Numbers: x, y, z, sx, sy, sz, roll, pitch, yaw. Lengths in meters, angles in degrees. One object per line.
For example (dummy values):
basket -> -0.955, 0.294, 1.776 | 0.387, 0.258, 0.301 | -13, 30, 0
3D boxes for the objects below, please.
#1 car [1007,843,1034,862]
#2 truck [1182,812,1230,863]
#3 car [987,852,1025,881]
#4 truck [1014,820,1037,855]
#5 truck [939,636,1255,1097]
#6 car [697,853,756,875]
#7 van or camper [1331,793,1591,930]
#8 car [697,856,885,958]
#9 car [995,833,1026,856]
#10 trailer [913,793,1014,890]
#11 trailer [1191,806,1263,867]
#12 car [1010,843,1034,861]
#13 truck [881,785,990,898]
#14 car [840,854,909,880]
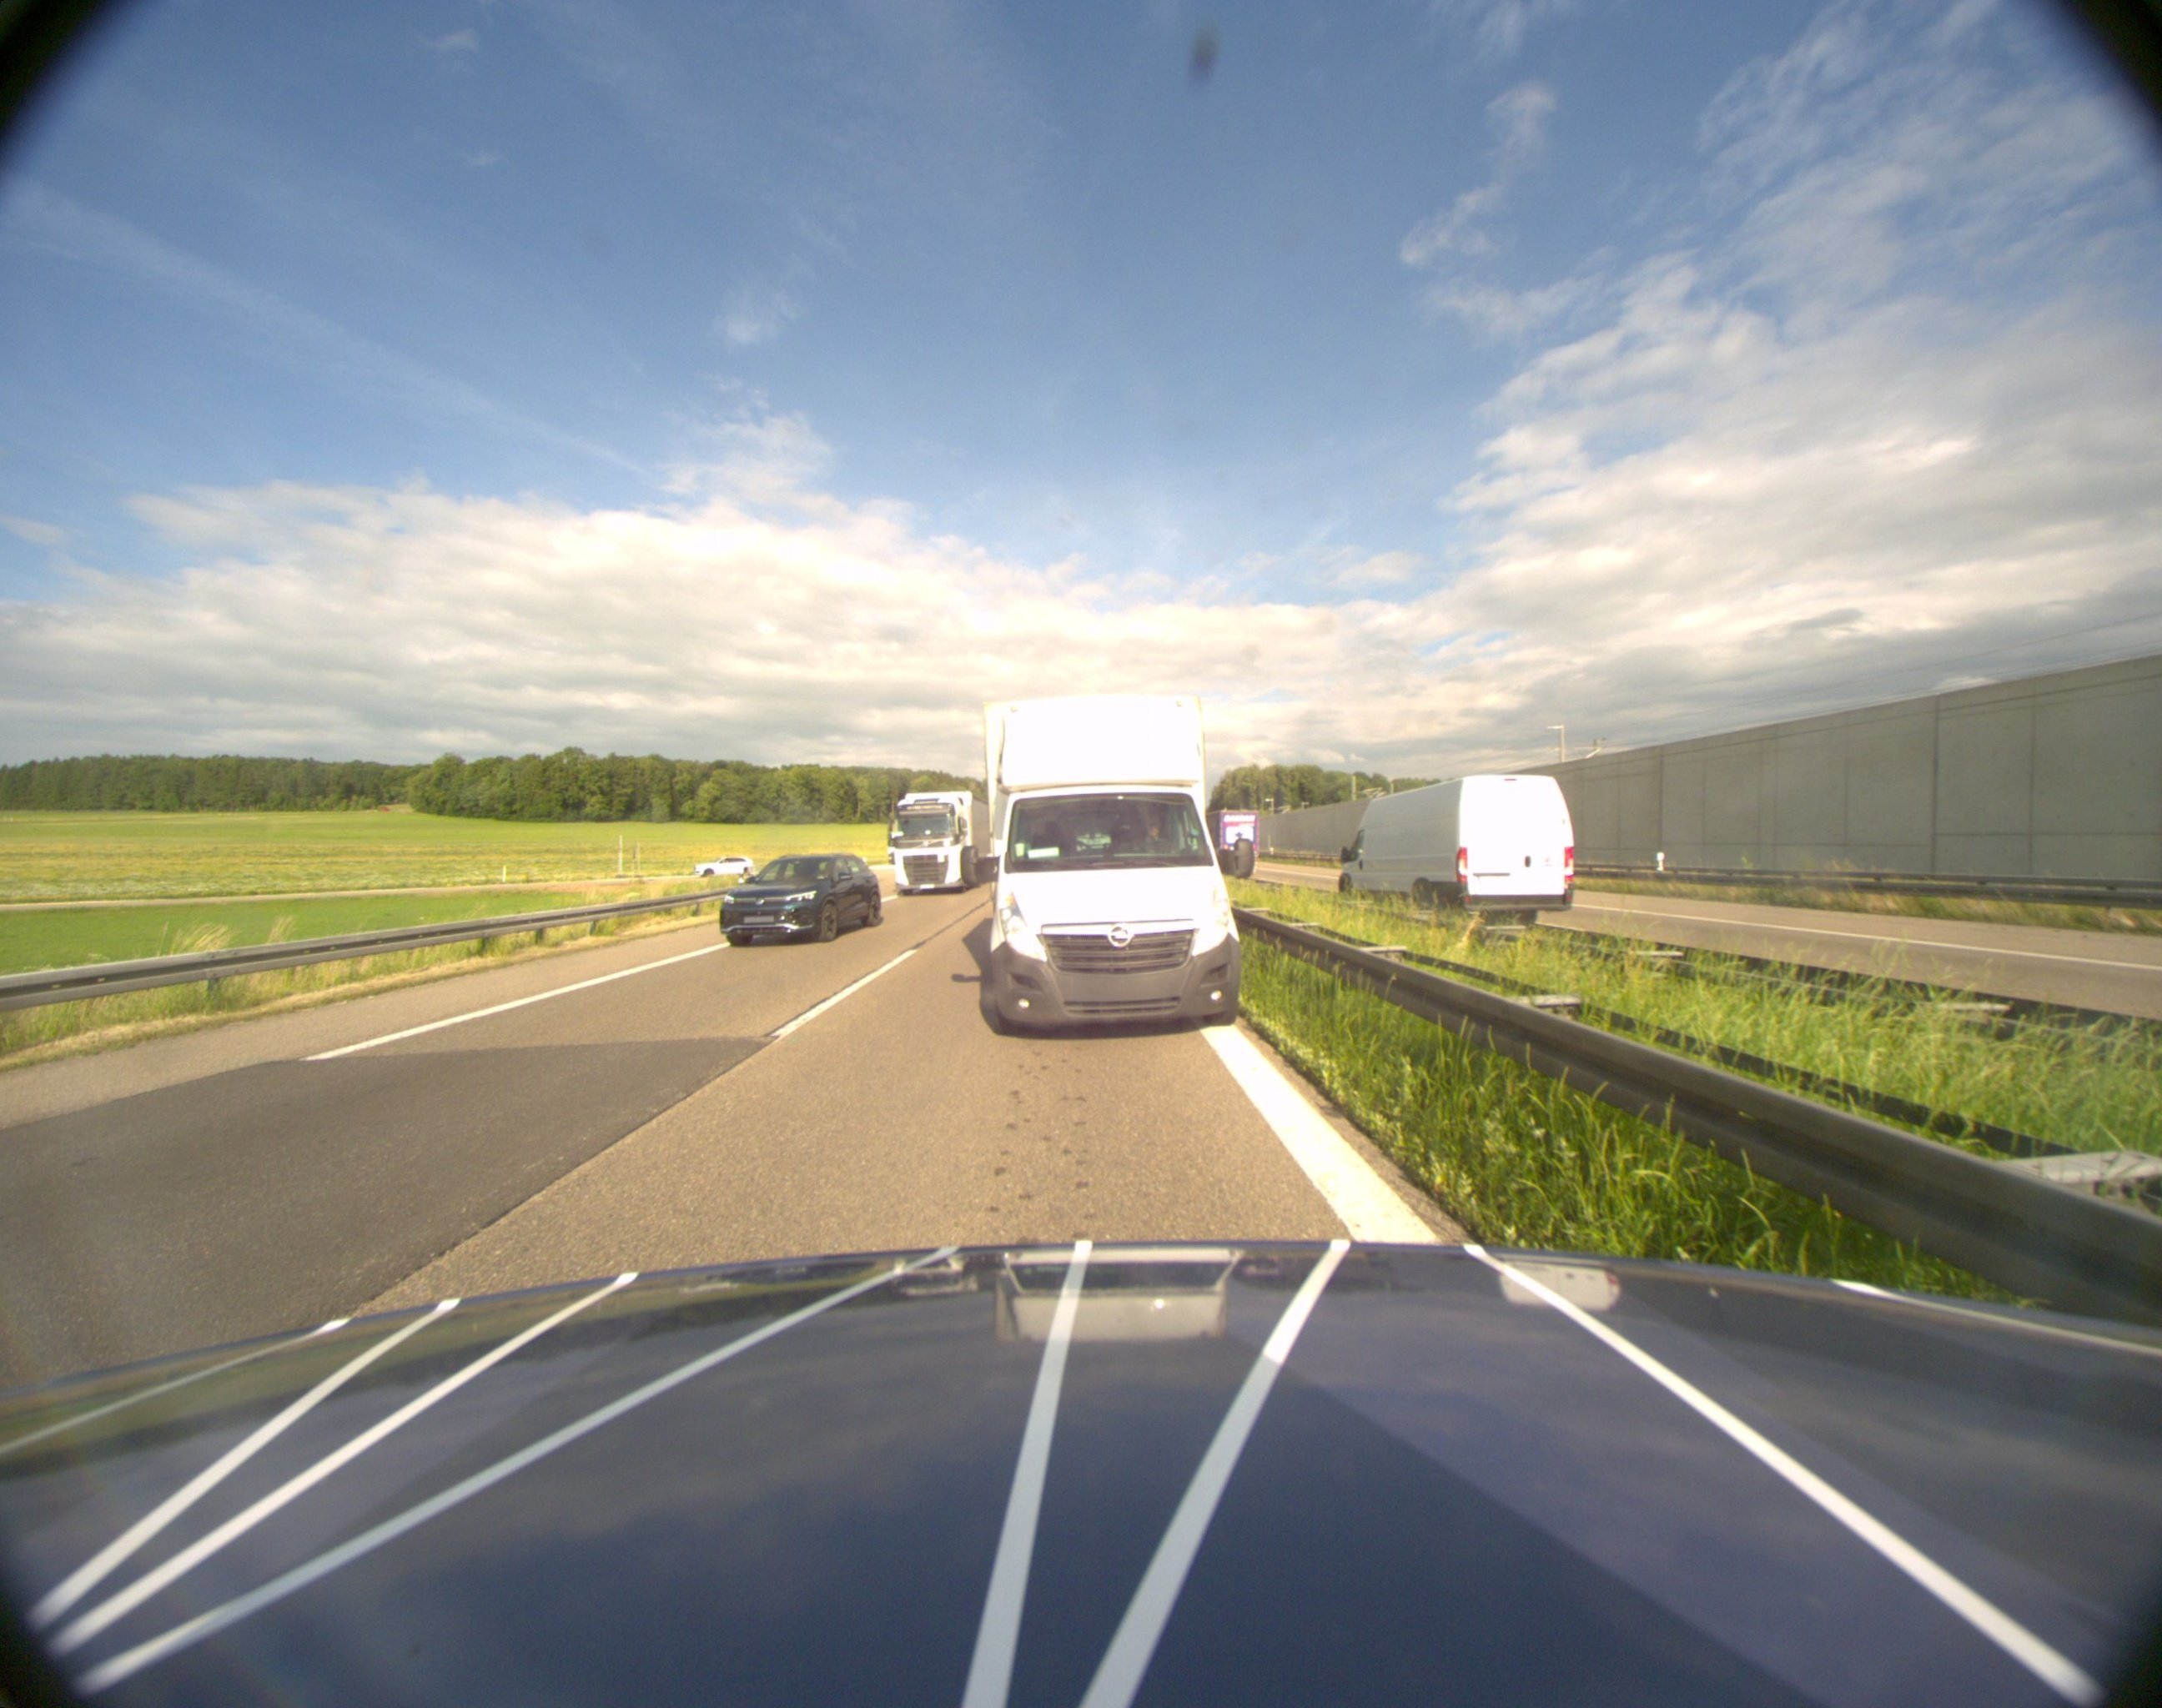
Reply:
car -> -5.407, -0.163, 68.045 | 1.998, 1.647, 3.999 | -2, 1, 0
truck -> 10.563, -1.376, 64.785 | 2.644, 4.074, 7.000 | -2, 1, -1
car -> -4.869, 0.777, 49.713 | 1.998, 1.647, 3.999 | -2, 1, 0
truck -> -6.137, -1.864, 84.404 | 1.998, 3.663, 5.930 | -2, 1, 0
truck -> 0.186, 0.032, 9.117 | 2.059, 3.088, 7.802 | -2, 1, 1
car -> -28.829, 0.812, 61.770 | 4.006, 1.609, 1.995 | -3, 1, -35
van or camper -> 7.376, 0.077, 15.803 | 2.172, 2.193, 6.256 | -2, 1, -1
car -> -5.456, 0.910, 14.969 | 1.998, 1.587, 4.118 | -2, 1, 1
car -> -5.529, -0.771, 59.969 | 1.998, 1.647, 3.999 | -2, 1, 0
trailer -> -5.454, -0.619, 37.979 | 2.826, 3.959, 12.126 | -2, 1, 1
trailer -> 10.729, -1.265, 57.440 | 2.661, 4.057, 12.393 | -2, 1, -1
car -> -5.713, -0.196, 73.828 | 1.998, 1.647, 3.999 | -2, 1, 0
truck -> -5.622, -0.491, 30.534 | 2.842, 3.967, 6.500 | -2, 1, 1
car -> -14.103, 0.839, 52.195 | 1.996, 1.537, 5.087 | -2, 1, 20
